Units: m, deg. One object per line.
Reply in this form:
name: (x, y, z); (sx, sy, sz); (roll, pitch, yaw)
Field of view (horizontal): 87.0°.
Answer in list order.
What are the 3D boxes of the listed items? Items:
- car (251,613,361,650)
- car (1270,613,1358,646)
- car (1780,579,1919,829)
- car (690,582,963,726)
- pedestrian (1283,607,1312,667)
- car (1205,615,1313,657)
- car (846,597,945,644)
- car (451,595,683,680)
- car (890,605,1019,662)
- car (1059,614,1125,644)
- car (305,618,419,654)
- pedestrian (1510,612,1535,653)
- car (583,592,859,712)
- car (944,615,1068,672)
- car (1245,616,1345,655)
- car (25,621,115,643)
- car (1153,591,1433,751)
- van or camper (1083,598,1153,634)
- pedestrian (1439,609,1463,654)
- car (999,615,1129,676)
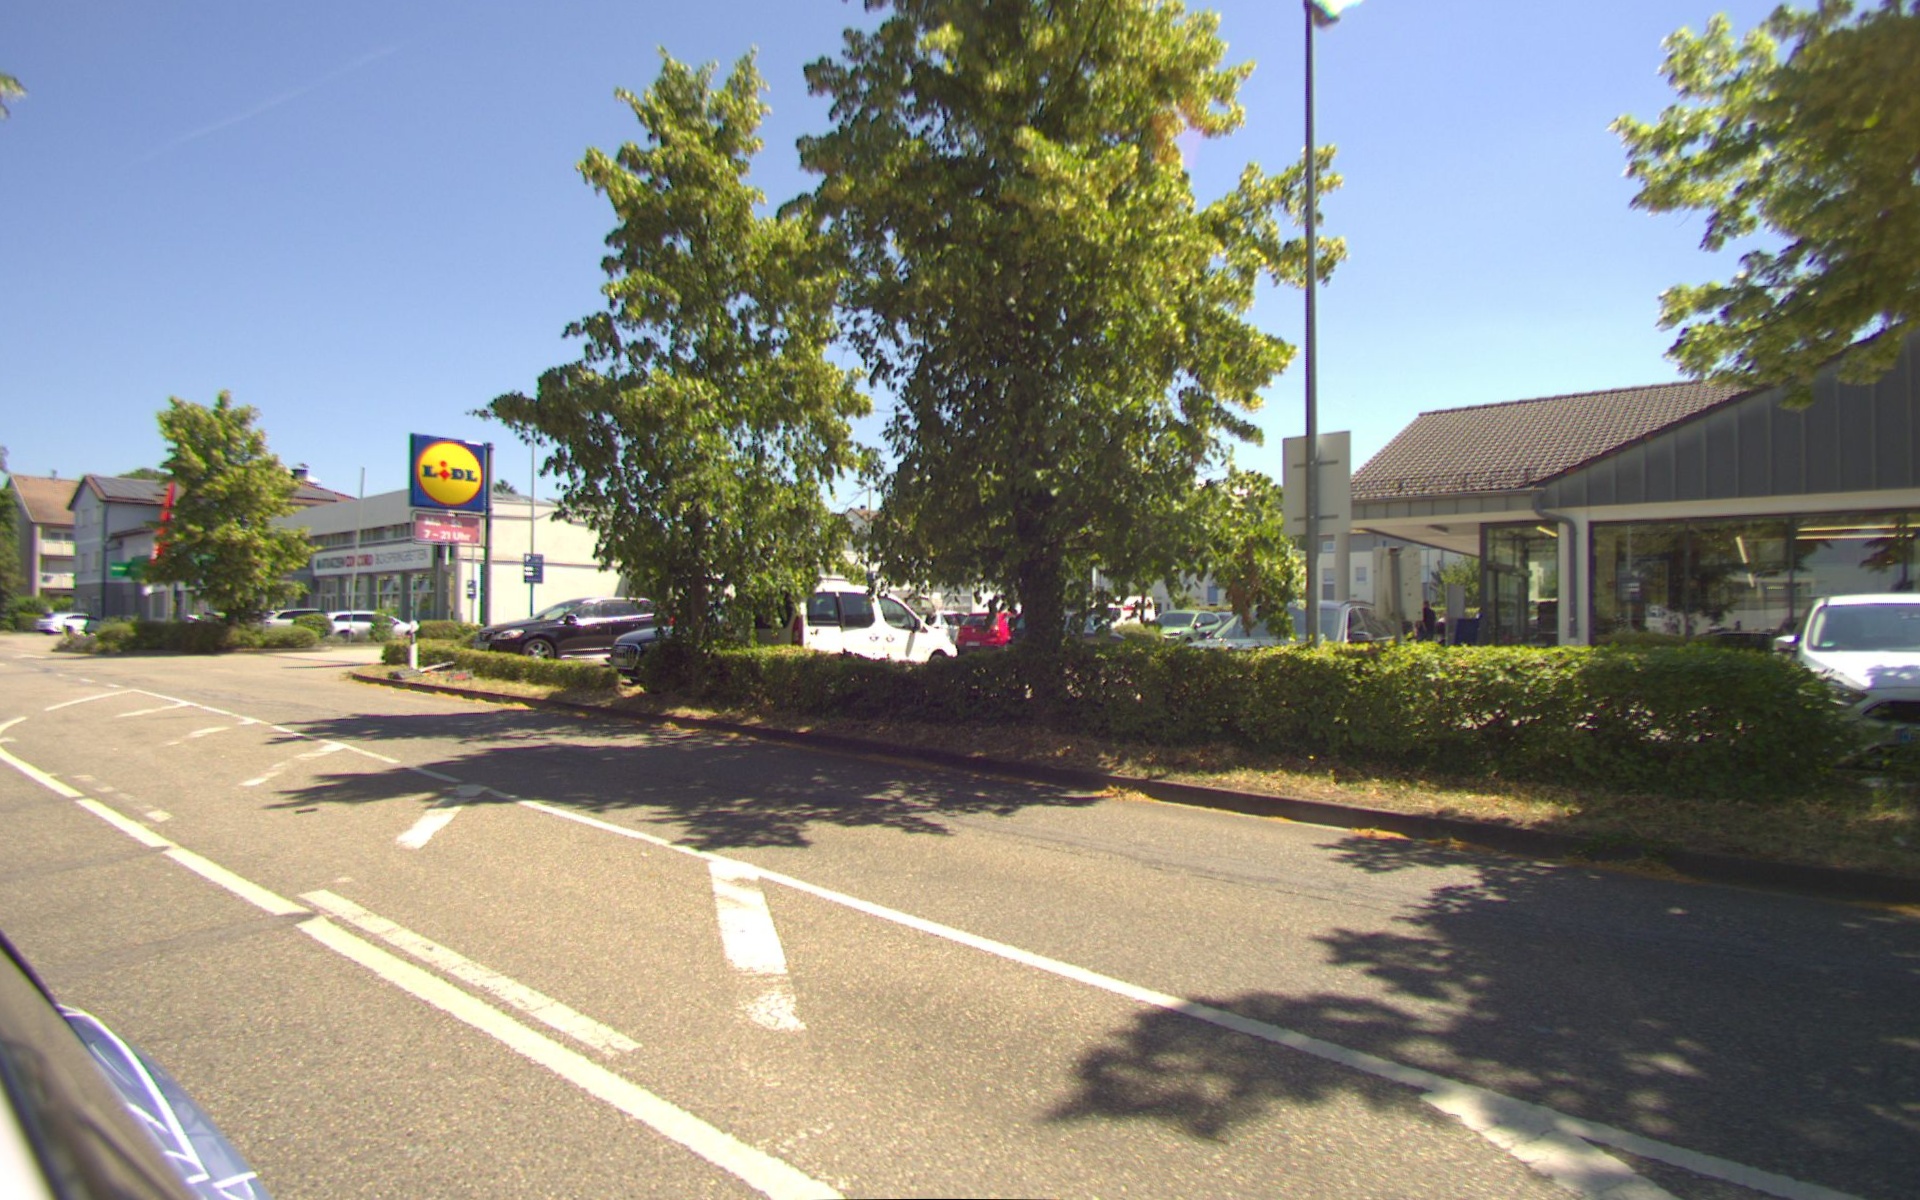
car: (-32.161, 1.510, 49.774); (4.470, 1.676, 2.005); (0, -1, -35)
car: (18.454, 1.505, 52.850); (3.996, 1.613, 1.776); (0, 1, 39)
car: (7.852, 0.647, 8.140); (1.893, 1.632, 4.358); (-1, 1, 39)
car: (-2.002, 0.733, 16.338); (1.902, 1.995, 4.315); (0, 0, 37)
pedestrian: (10.404, 1.139, 31.233); (0.764, 1.820, 0.750); (0, 0, 12)
car: (12.514, 1.479, 42.522); (3.996, 1.613, 1.775); (0, 0, 40)
car: (-3.849, 1.143, 59.951); (5.893, 2.647, 2.259); (0, 0, 39)
car: (-9.129, 0.784, 23.793); (2.099, 1.775, 4.655); (0, 0, 44)
car: (-0.106, 1.032, 33.093); (2.110, 1.667, 4.273); (0, 0, 36)
car: (6.669, 1.416, 50.894); (1.763, 1.379, 4.204); (0, 0, 31)
car: (-26.320, 1.548, 44.591); (4.130, 1.457, 1.984); (0, -1, -38)
pedestrian: (22.246, 1.265, 40.003); (0.665, 1.592, 0.636); (0, 0, -33)
car: (-4.146, 0.801, 18.002); (4.334, 1.859, 2.105); (0, 0, -44)
car: (1.501, 1.273, 31.306); (1.824, 1.541, 4.274); (0, 0, 36)
car: (15.177, 1.579, 45.941); (3.996, 1.613, 1.775); (0, 0, 40)
car: (-60.414, 2.160, 68.785); (1.921, 1.450, 4.336); (0, -1, 13)
car: (4.140, 0.695, 12.186); (1.932, 1.536, 3.990); (-1, 1, 39)
van or camper: (8.868, 0.854, 56.697); (2.008, 1.951, 4.319); (0, 0, 39)
pedestrian: (17.040, 1.073, 35.105); (0.675, 1.525, 0.627); (0, 0, 34)
car: (3.063, 1.242, 29.078); (1.824, 1.541, 4.274); (0, 0, 36)
